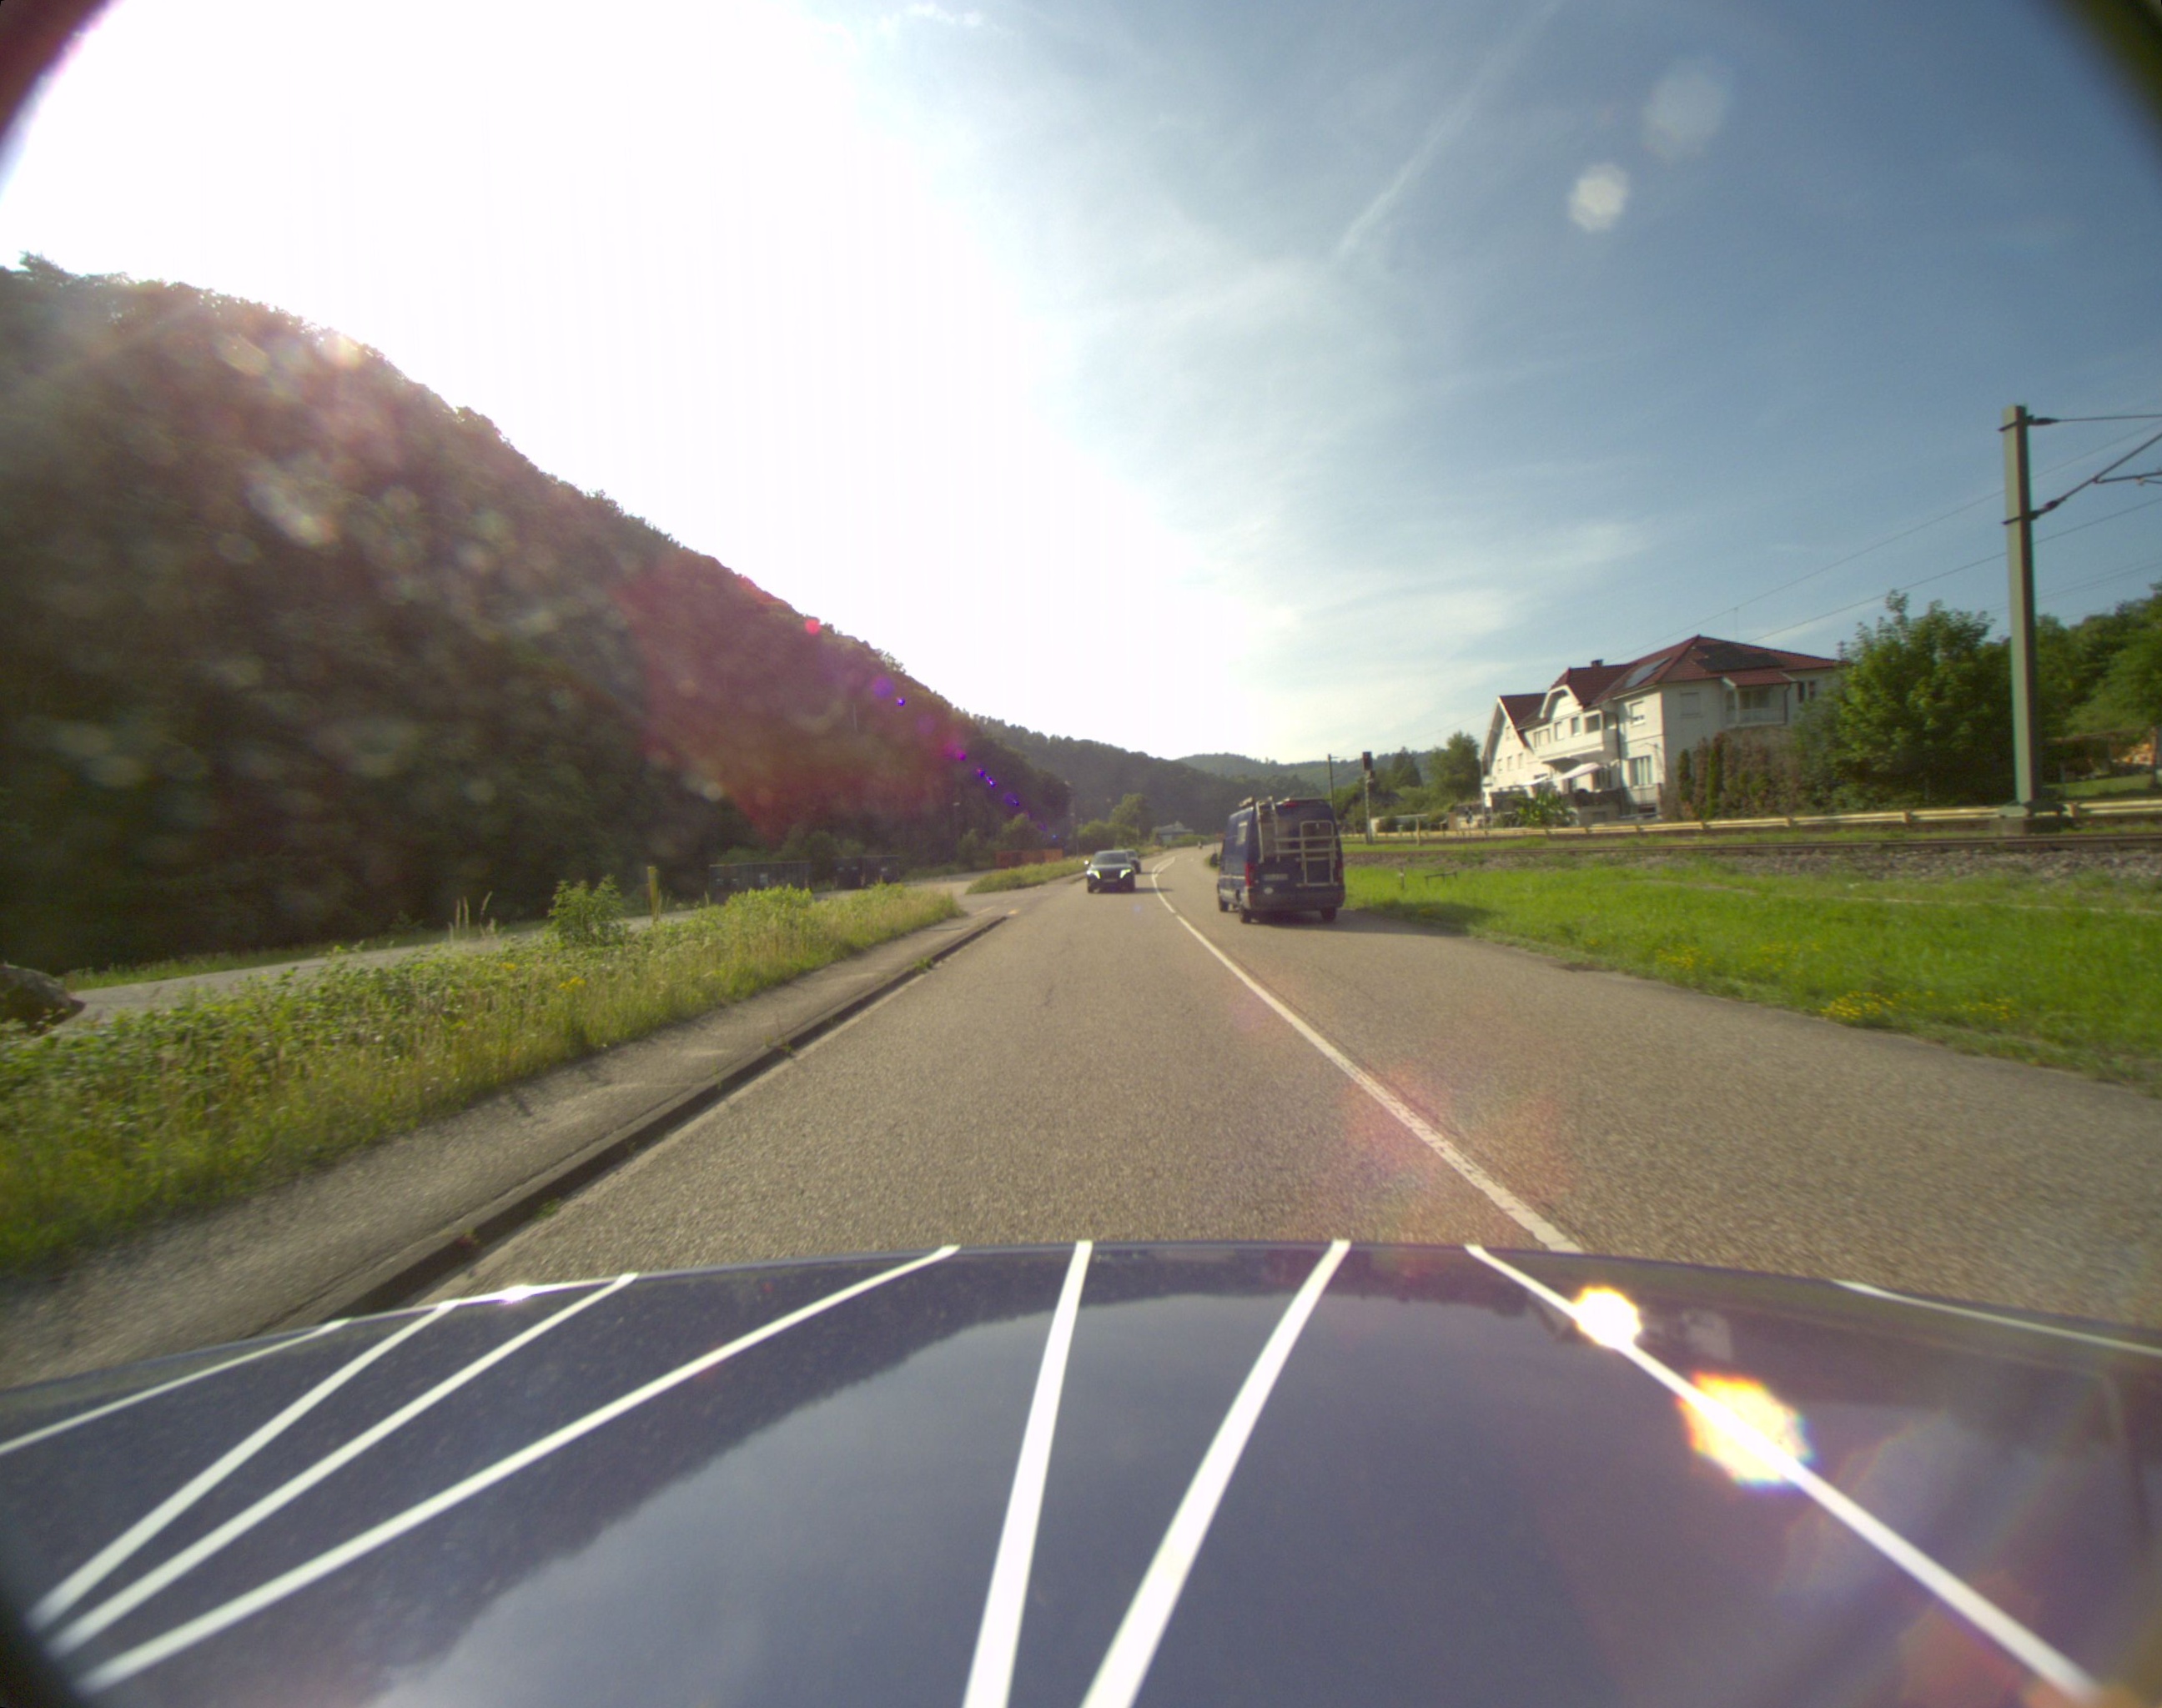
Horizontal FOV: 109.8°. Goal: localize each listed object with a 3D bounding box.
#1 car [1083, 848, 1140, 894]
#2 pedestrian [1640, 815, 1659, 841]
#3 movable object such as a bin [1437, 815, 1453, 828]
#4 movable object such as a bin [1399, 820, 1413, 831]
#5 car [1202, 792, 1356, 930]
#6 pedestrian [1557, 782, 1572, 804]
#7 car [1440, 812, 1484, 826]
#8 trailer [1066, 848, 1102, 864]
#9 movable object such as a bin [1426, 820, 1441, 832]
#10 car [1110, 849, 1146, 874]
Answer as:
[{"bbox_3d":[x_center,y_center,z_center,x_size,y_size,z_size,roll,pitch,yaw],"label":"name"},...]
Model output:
[{"bbox_3d":[1.381,0.637,31.846,1.998,1.661,5.512,-2,0,5],"label":"car"},{"bbox_3d":[36.956,-1.686,49.412,0.677,1.607,0.609,-4,1,8],"label":"pedestrian"},{"bbox_3d":[36.838,-3.263,76.883,1.092,1.185,1.144,-4,1,9],"label":"movable object such as a bin"},{"bbox_3d":[37.790,-3.313,88.425,1.142,1.185,1.093,-4,1,3],"label":"movable object such as a bin"},{"bbox_3d":[4.258,0.126,17.372,2.132,2.600,5.479,-1,0,1],"label":"car"},{"bbox_3d":[36.593,-4.601,57.536,0.608,1.607,0.677,-4,1,-4],"label":"pedestrian"},{"bbox_3d":[41.976,-3.868,83.819,4.100,1.263,1.738,-4,1,18],"label":"car"},{"bbox_3d":[0.492,0.185,93.620,2.797,1.466,9.892,-6,0,10],"label":"trailer"},{"bbox_3d":[35.697,-2.830,76.967,1.092,1.185,1.144,-4,1,9],"label":"movable object such as a bin"},{"bbox_3d":[3.288,0.487,52.483,1.918,1.455,4.002,-4,1,10],"label":"car"}]
